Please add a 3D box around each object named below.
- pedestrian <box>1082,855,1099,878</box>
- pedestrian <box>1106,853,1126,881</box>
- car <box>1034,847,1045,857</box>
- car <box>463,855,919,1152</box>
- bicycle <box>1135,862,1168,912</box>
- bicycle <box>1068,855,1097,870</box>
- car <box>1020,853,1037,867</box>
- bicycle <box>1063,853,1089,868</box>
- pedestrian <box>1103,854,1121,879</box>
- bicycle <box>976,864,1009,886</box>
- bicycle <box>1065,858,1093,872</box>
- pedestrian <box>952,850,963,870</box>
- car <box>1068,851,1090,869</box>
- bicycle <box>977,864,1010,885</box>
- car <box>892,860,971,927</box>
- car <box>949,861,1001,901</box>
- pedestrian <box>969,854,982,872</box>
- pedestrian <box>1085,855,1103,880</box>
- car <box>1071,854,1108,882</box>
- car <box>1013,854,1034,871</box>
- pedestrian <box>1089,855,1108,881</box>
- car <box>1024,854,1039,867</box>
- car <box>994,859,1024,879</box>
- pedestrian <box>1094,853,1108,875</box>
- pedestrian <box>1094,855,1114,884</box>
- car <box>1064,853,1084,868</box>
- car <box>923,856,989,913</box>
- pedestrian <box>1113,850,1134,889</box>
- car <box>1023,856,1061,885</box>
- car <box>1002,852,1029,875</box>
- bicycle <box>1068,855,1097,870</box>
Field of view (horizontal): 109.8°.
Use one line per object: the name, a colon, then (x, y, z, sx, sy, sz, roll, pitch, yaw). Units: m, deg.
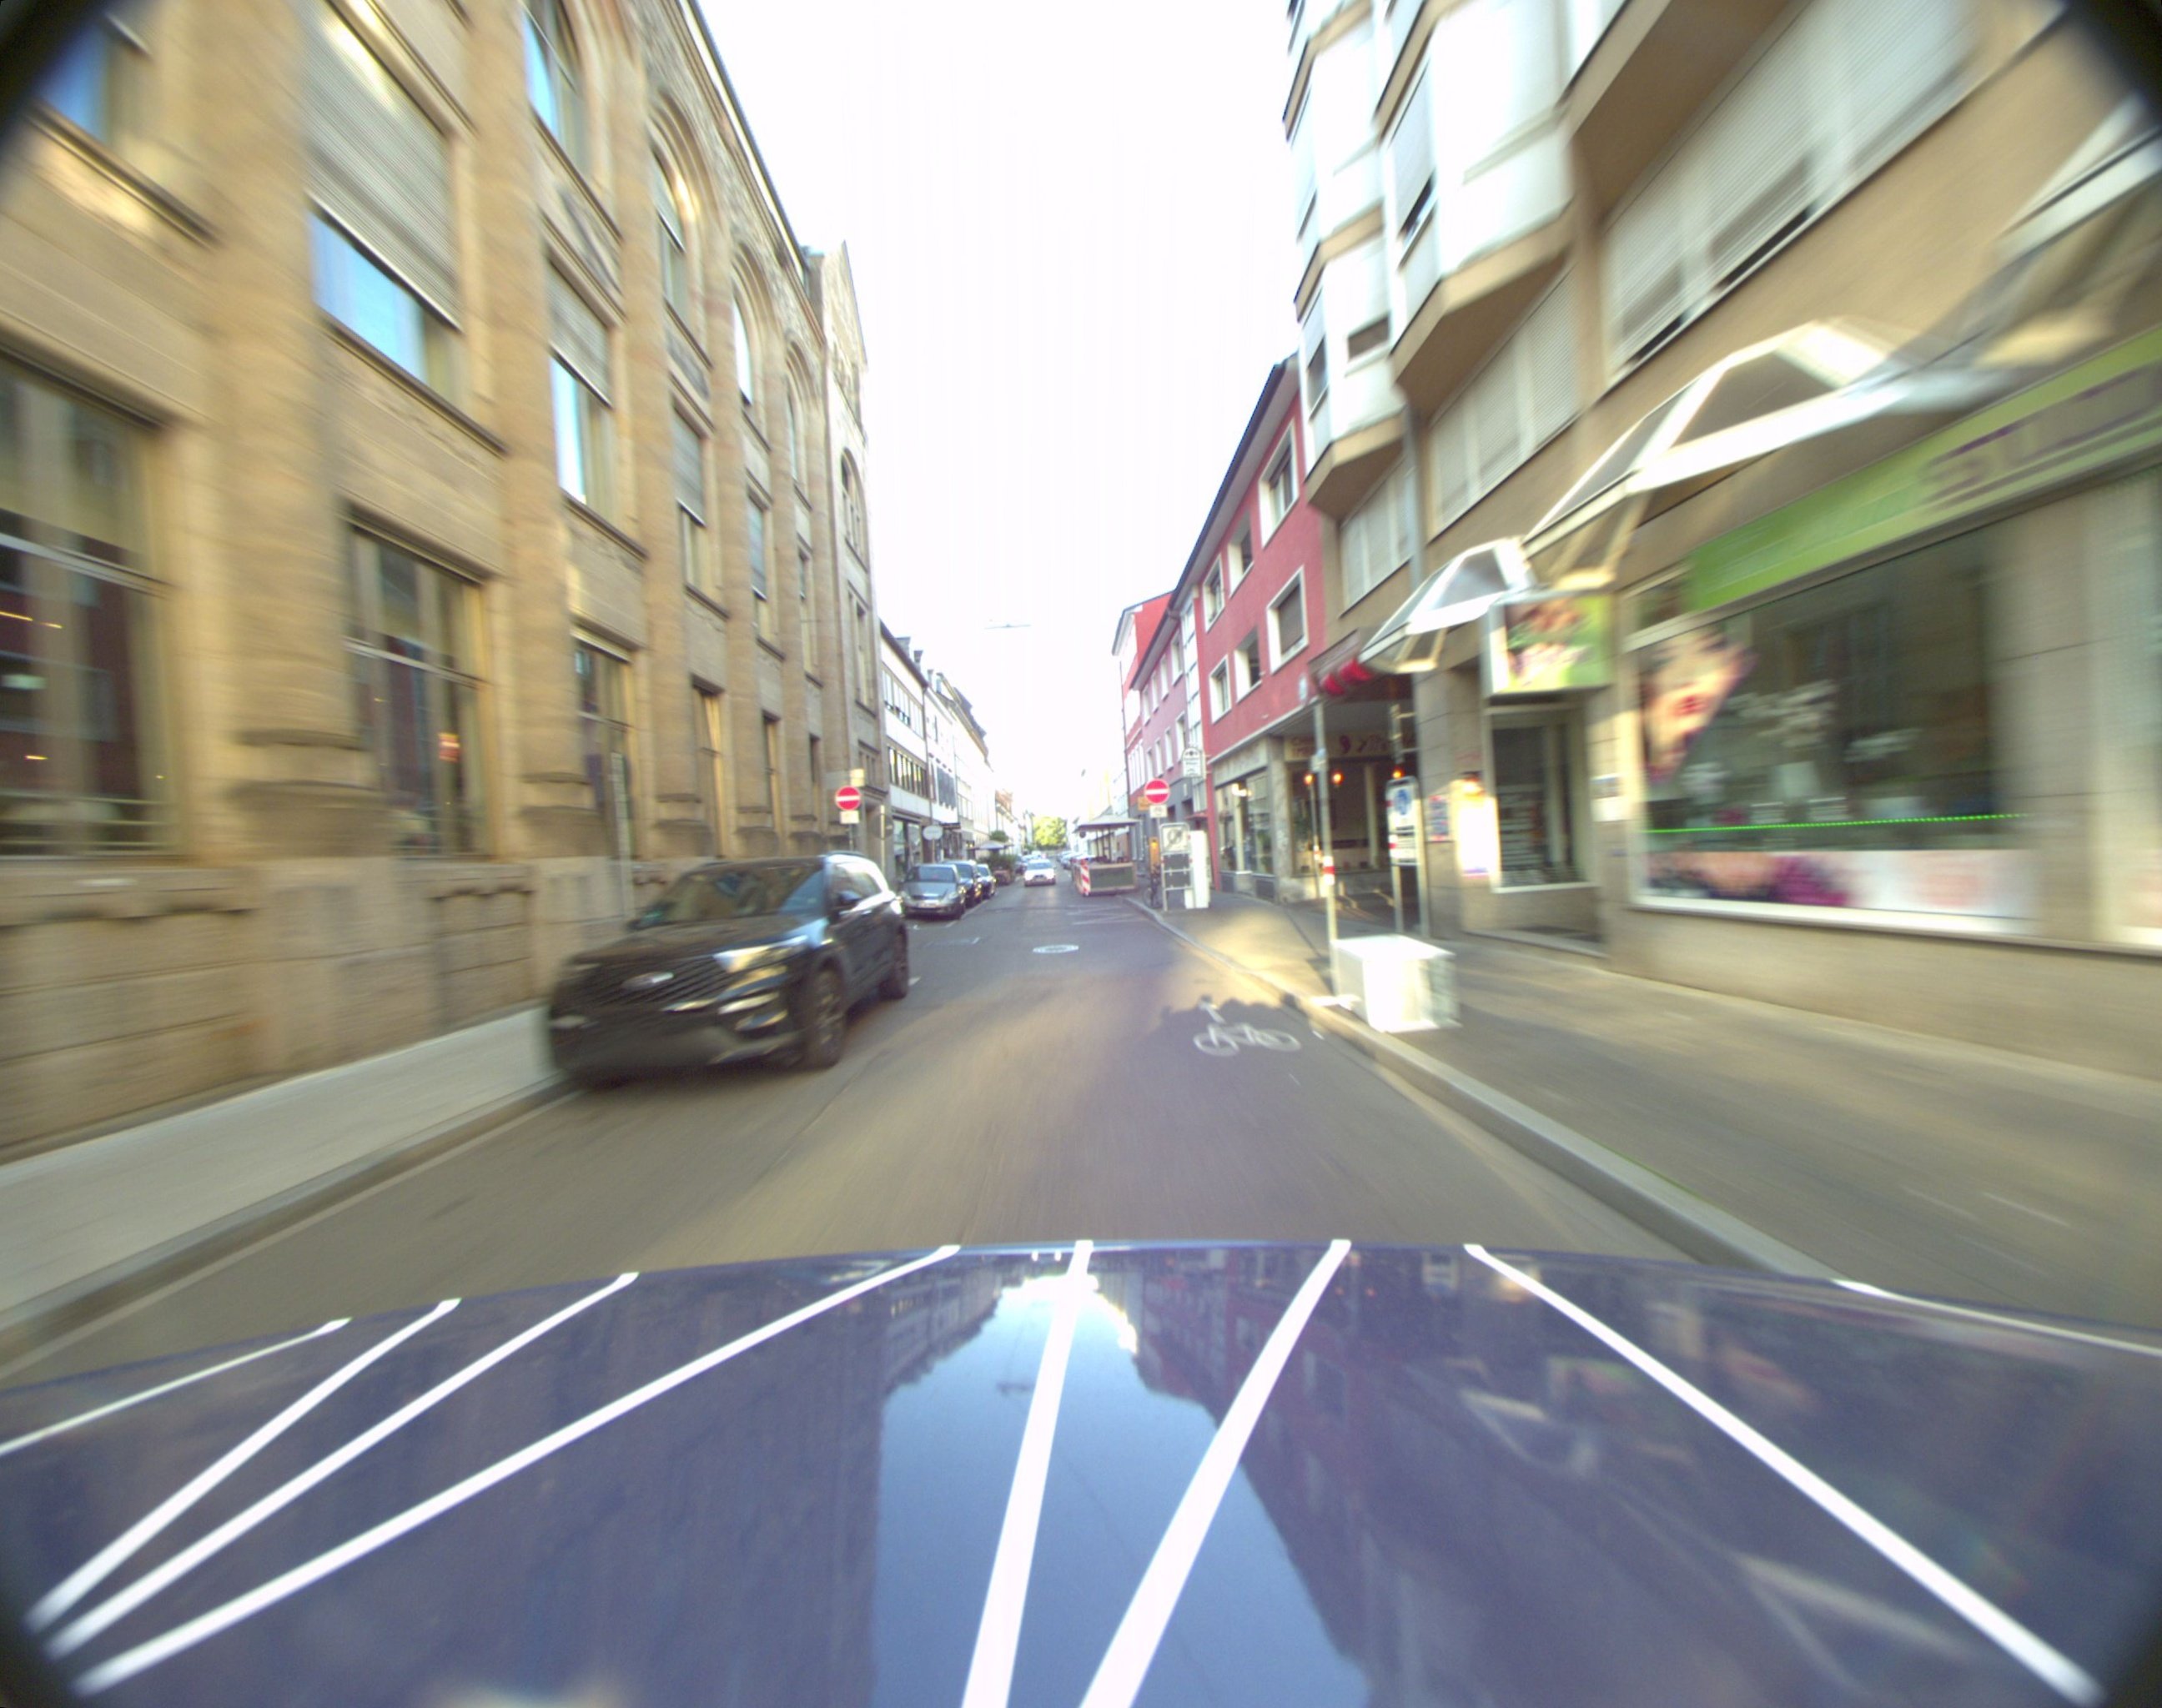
pedestrian: (0.428, 0.582, 36.177, 0.634, 1.061, 0.560, -5, 1, -10)
pedestrian: (1.390, 0.529, 30.397, 0.612, 1.056, 0.547, -5, 1, -10)
car: (-8.698, -0.369, 160.004, 1.999, 1.884, 4.457, -4, 0, -2)
car: (-3.045, 0.967, 7.409, 1.999, 1.773, 4.933, -4, 0, -3)
bicycle: (1.823, 0.831, 19.896, 0.545, 1.185, 1.841, -4, 0, -2)
bicycle: (0.144, 0.736, 69.490, 2.481, 1.172, 0.784, -4, 1, 4)
car: (-6.787, 0.793, 98.725, 1.999, 1.666, 4.457, -4, 0, -2)
bicycle: (-0.490, 0.634, 75.434, 2.481, 1.322, 0.784, -4, 1, 4)
pedestrian: (1.366, 0.543, 33.596, 0.603, 1.056, 0.547, -5, 1, -10)
bicycle: (-5.232, 1.232, 44.948, 1.874, 1.295, 0.596, 0, 1, -2)
bicycle: (-0.176, 1.040, 72.585, 2.481, 1.172, 0.784, -4, 1, 4)
pedestrian: (-8.179, 0.394, 50.309, 0.567, 1.236, 0.609, -3, 1, -2)
car: (-0.198, 0.569, 79.021, 1.999, 1.666, 4.457, -4, 0, -2)
bicycle: (-5.254, 1.242, 45.631, 1.874, 1.221, 0.596, 0, 1, -2)
car: (-4.367, 1.096, 22.714, 1.778, 1.656, 3.998, -4, 0, -5)
car: (-4.648, 1.133, 33.903, 1.694, 1.507, 4.989, -4, 0, -2)
pedestrian: (-7.589, 0.662, 54.480, 0.736, 1.236, 0.646, -5, 1, -1)
pedestrian: (0.564, 0.602, 33.827, 0.612, 1.056, 0.547, -5, 1, -10)
car: (0.425, 0.775, 44.252, 1.722, 1.452, 4.133, -4, 0, -4)
car: (-6.331, 0.891, 83.756, 1.999, 1.666, 4.457, -4, 0, -2)
pedestrian: (0.754, 0.601, 32.919, 0.612, 1.056, 0.547, -5, 1, -10)
car: (-7.141, 0.949, 109.696, 1.999, 1.666, 4.457, -4, 0, -2)
car: (-5.429, 1.097, 57.859, 1.940, 1.288, 3.999, -4, 0, -2)
pedestrian: (0.983, 0.495, 37.445, 0.559, 1.031, 0.492, -5, 1, -10)
pedestrian: (0.883, 0.598, 29.718, 0.612, 1.056, 0.547, -5, 1, -10)
car: (-0.784, 0.686, 84.616, 1.999, 1.462, 4.457, -4, 0, -2)
car: (-4.546, 1.064, 28.194, 1.675, 1.796, 4.238, -5, 0, -1)
pedestrian: (1.644, 0.584, 29.552, 0.612, 1.464, 0.547, -5, 1, -10)
car: (-2.202, 0.900, 43.497, 1.999, 1.414, 4.457, -4, 0, -2)
car: (-5.832, 0.849, 68.020, 1.999, 1.835, 3.999, -4, 0, -2)
bicycle: (0.111, 0.758, 68.571, 2.481, 1.172, 0.784, -4, 1, 4)
